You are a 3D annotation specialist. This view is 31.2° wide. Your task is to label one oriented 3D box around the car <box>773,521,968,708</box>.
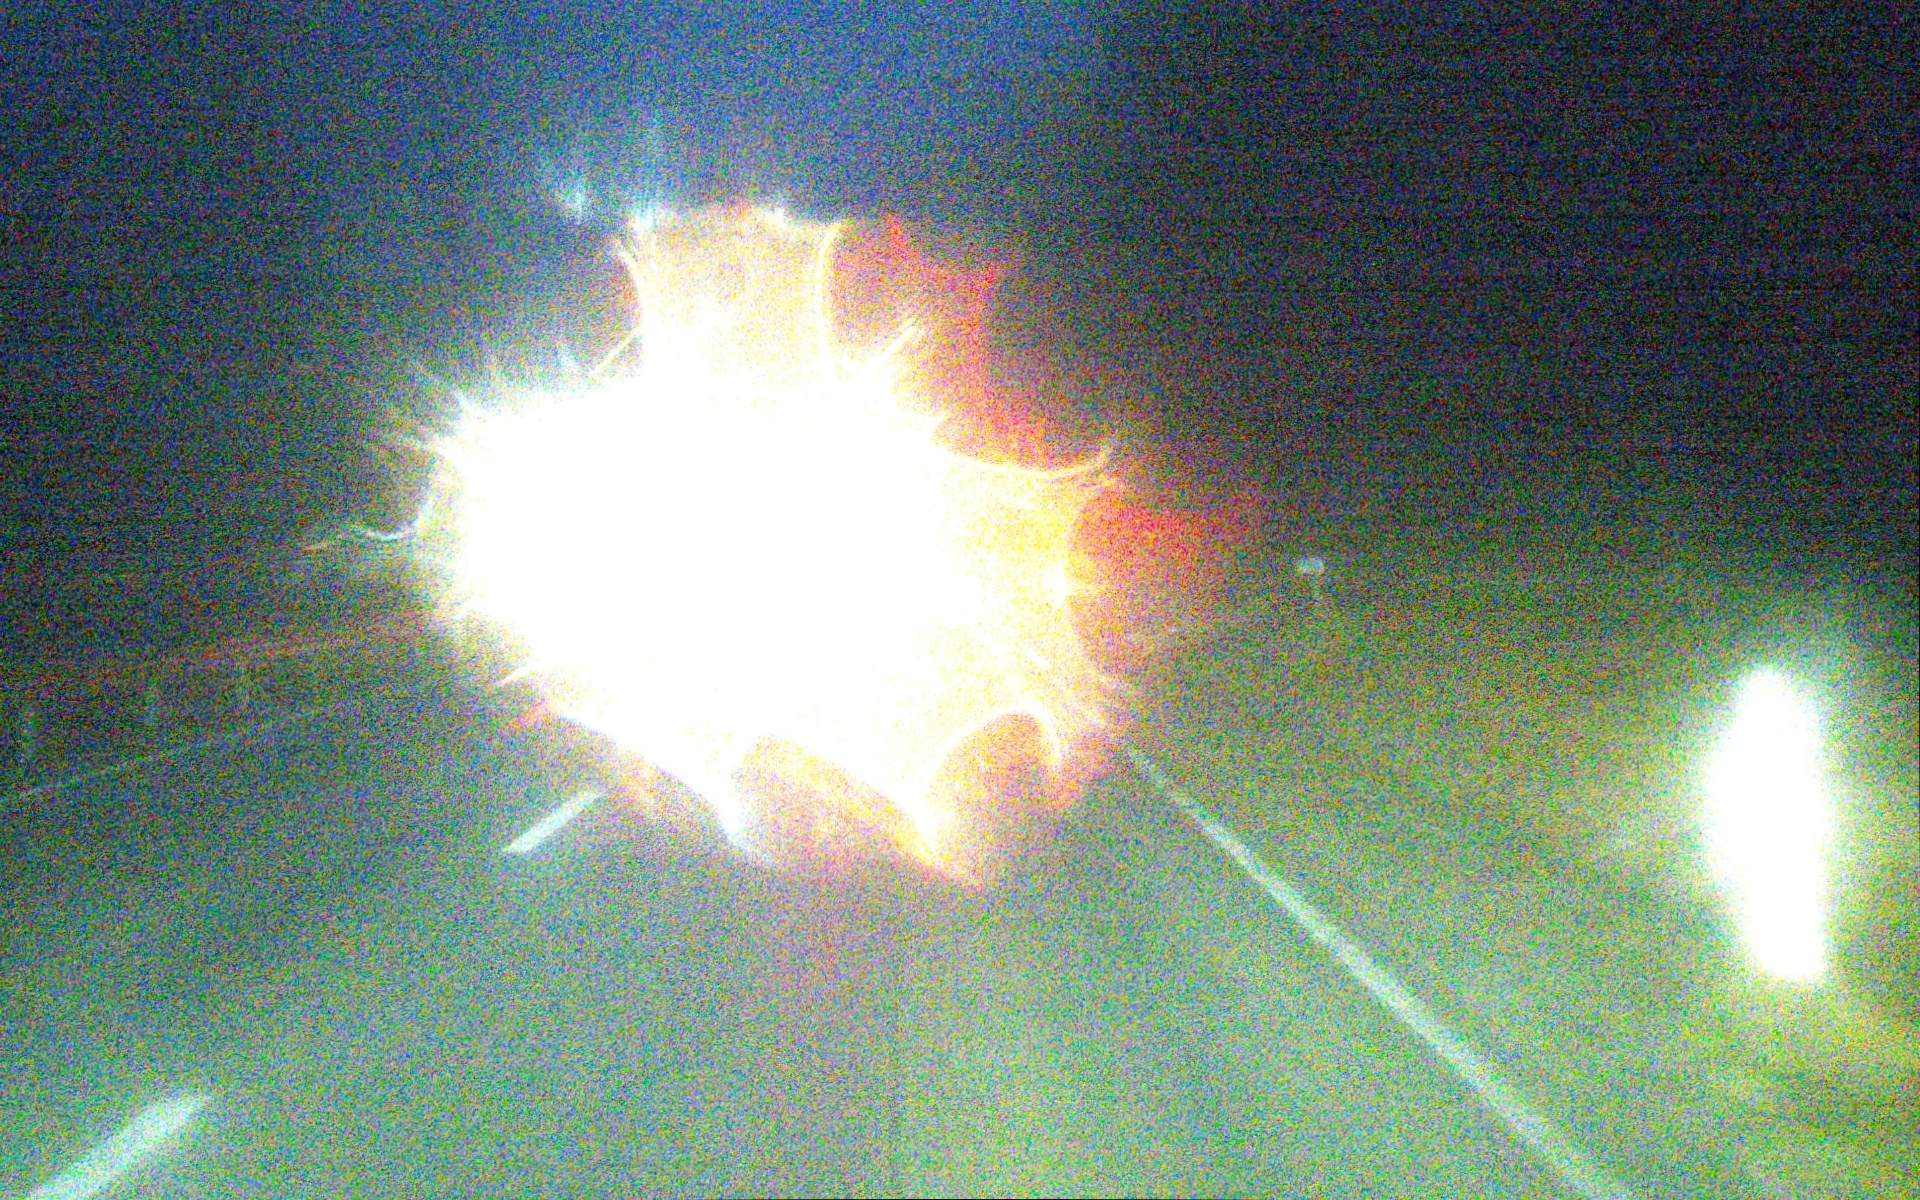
[{"bbox_3d":[-1.002,0.104,37.915,1.993,1.800,3.918,-1,3,-2],"label":"car"}]
